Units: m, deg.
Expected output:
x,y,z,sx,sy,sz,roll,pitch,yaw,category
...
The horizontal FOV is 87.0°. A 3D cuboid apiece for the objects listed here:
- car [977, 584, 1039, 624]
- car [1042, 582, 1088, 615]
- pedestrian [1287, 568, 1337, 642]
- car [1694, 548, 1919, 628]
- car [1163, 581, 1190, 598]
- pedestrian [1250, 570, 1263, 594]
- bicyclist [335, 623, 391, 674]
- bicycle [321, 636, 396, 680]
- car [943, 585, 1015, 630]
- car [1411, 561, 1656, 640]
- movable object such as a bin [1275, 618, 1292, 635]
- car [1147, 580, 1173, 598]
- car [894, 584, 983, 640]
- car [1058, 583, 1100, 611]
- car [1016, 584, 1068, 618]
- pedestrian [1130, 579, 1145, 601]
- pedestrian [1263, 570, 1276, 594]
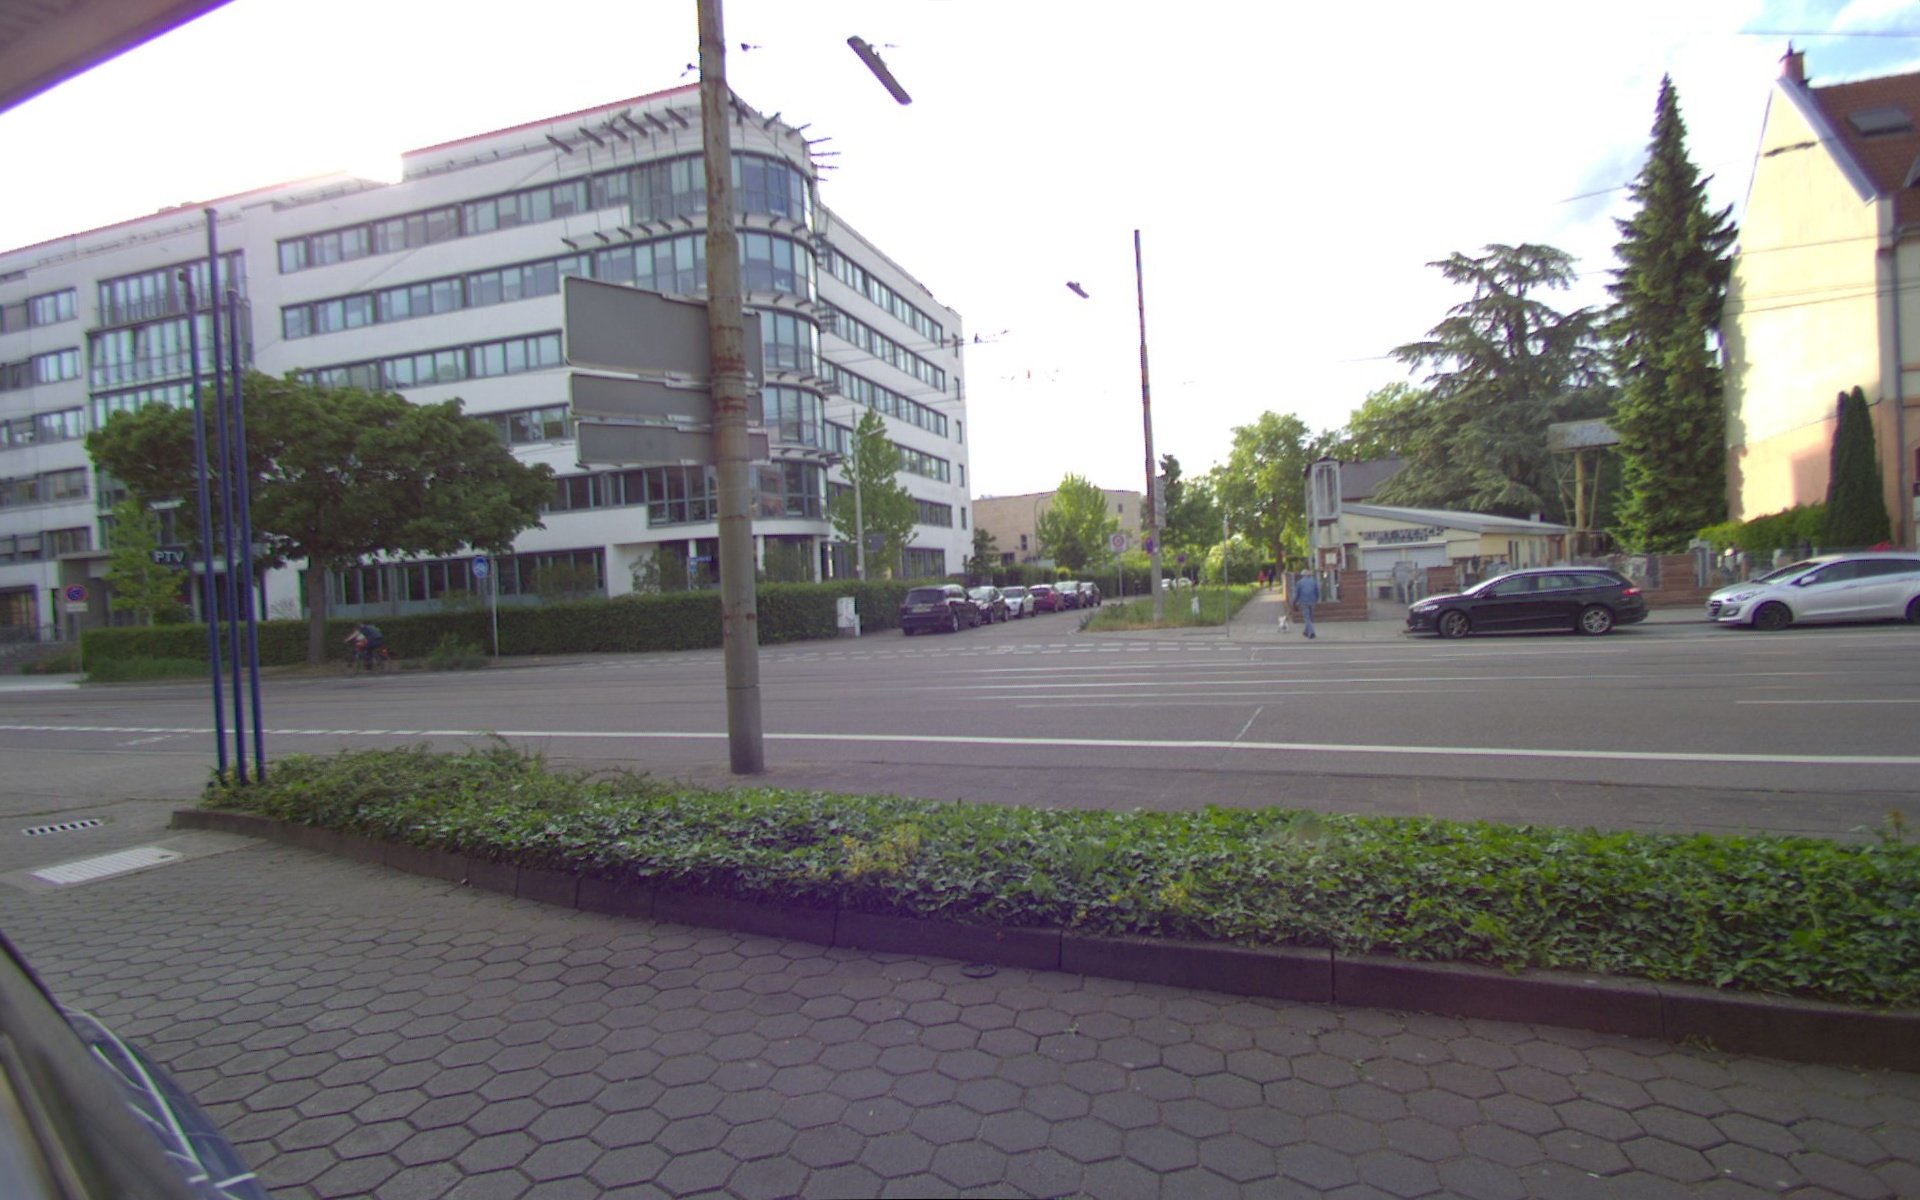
x,y,z,sx,sy,sz,roll,pitch,yaw,category
2.233,0.161,45.671,1.807,1.589,4.175,-4,0,16,car
6.041,-0.125,57.790,1.807,1.704,4.392,-4,0,16,car
8.607,0.105,24.759,0.899,1.712,0.924,-3,3,7,pedestrian
18.414,-0.257,21.381,4.349,1.493,1.732,-3,1,22,car
22.849,-1.135,106.838,1.813,1.654,4.040,-4,0,25,car
24.069,-1.469,82.074,0.965,1.896,1.056,-1,0,17,pedestrian
-17.533,1.418,29.733,1.163,1.462,0.788,-1,0,11,bicyclist
-17.689,1.700,29.780,1.862,1.248,0.788,-1,0,11,bicycle
0.839,0.279,40.967,1.807,1.589,4.175,-4,0,16,car
13.020,0.018,23.352,4.632,1.533,1.842,-3,2,22,car
8.567,0.702,26.816,0.363,0.397,0.660,-3,3,13,movable object such as a bin
19.971,-1.116,100.891,1.811,1.654,4.044,-4,0,22,car
-0.679,0.365,35.551,1.807,1.701,4.370,-4,1,16,car
7.396,-0.201,62.555,1.807,1.585,4.052,-4,0,16,car
4.309,0.033,52.392,1.807,1.589,4.175,-4,0,16,car
15.785,-0.878,89.967,0.971,1.896,1.050,-1,0,33,pedestrian
25.042,-1.481,81.783,0.965,1.896,1.056,-1,0,17,pedestrian
